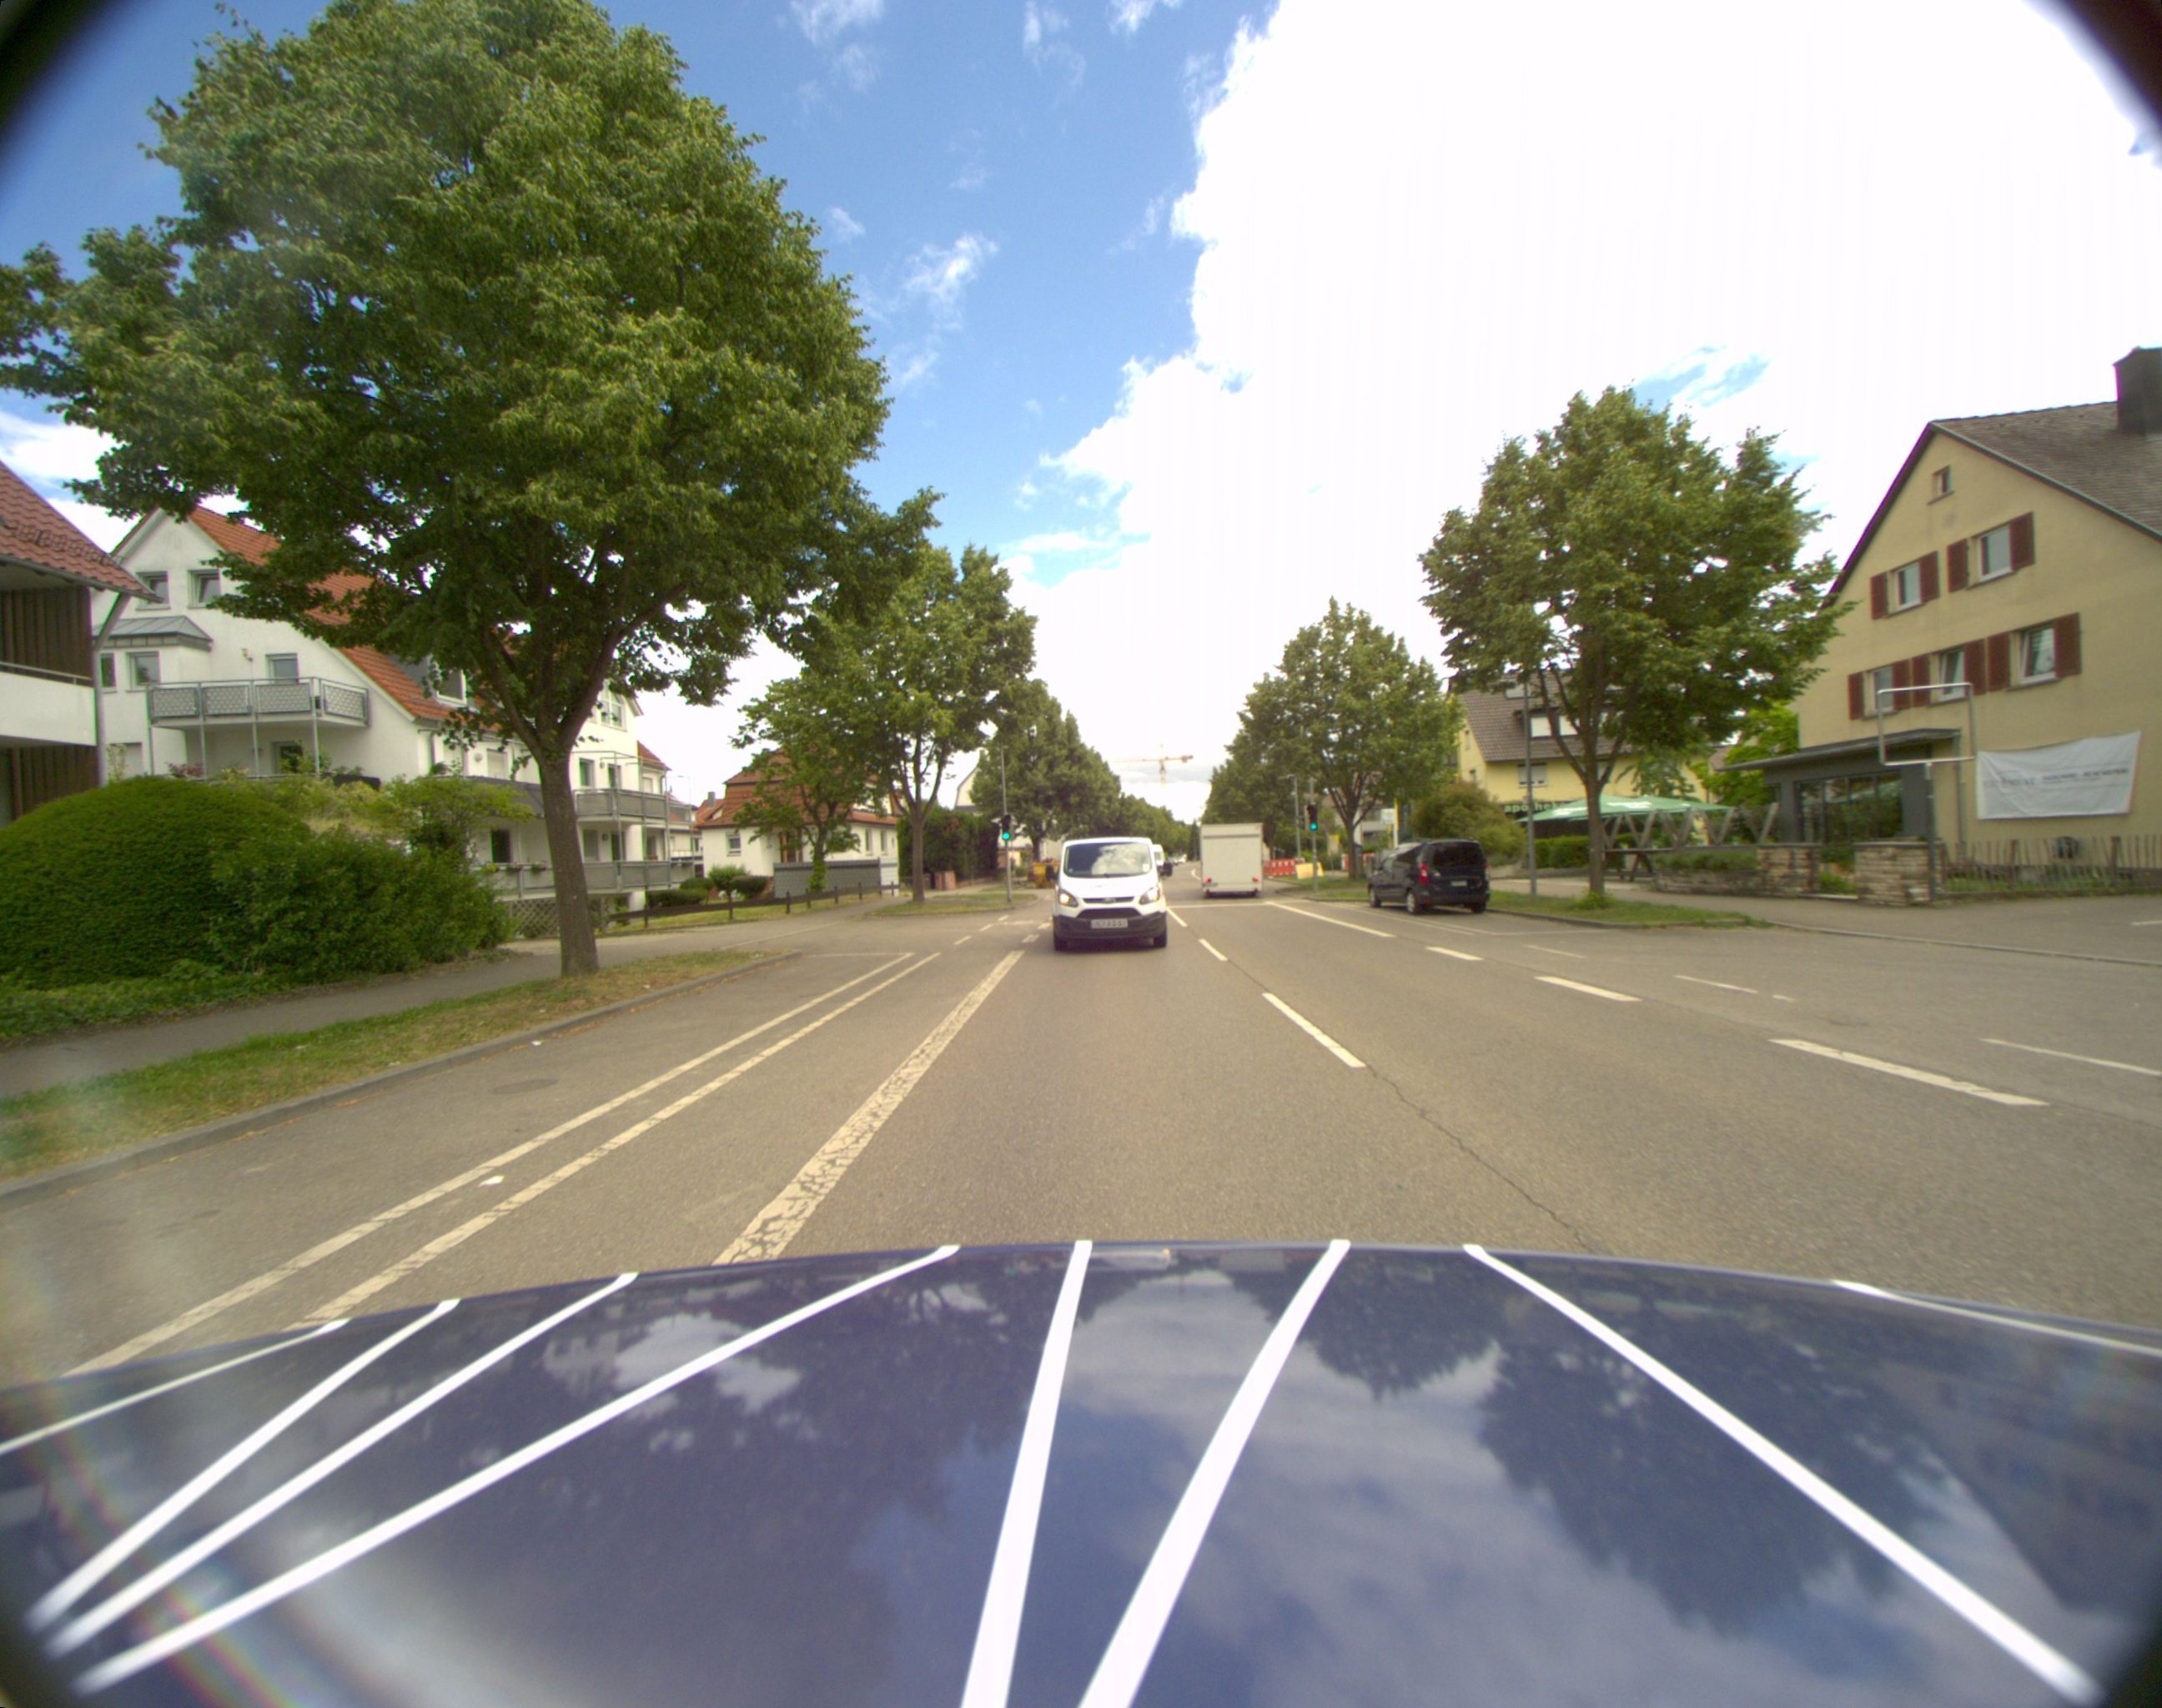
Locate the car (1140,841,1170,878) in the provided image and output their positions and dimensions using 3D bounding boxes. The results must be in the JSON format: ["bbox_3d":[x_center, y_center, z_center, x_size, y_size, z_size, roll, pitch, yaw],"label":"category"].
[{"bbox_3d":[5.586,0.420,57.187,1.997,2.584,4.002,-3,0,8],"label":"car"}]

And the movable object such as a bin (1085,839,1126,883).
[{"bbox_3d":[1.604,0.410,48.035,1.997,2.550,4.550,-2,0,8],"label":"movable object such as a bin"}]

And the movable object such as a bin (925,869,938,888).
[{"bbox_3d":[-8.659,1.419,43.964,0.499,1.038,0.520,-2,0,16],"label":"movable object such as a bin"}]

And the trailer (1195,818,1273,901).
[{"bbox_3d":[6.168,0.195,30.436,2.639,2.862,6.877,-2,0,12],"label":"trailer"}]

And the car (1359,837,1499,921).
[{"bbox_3d":[8.715,0.576,19.464,1.711,1.863,4.399,-2,0,3],"label":"car"}]

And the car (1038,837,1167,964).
[{"bbox_3d":[0.639,0.755,14.937,1.997,2.002,5.321,-2,0,7],"label":"car"}]
